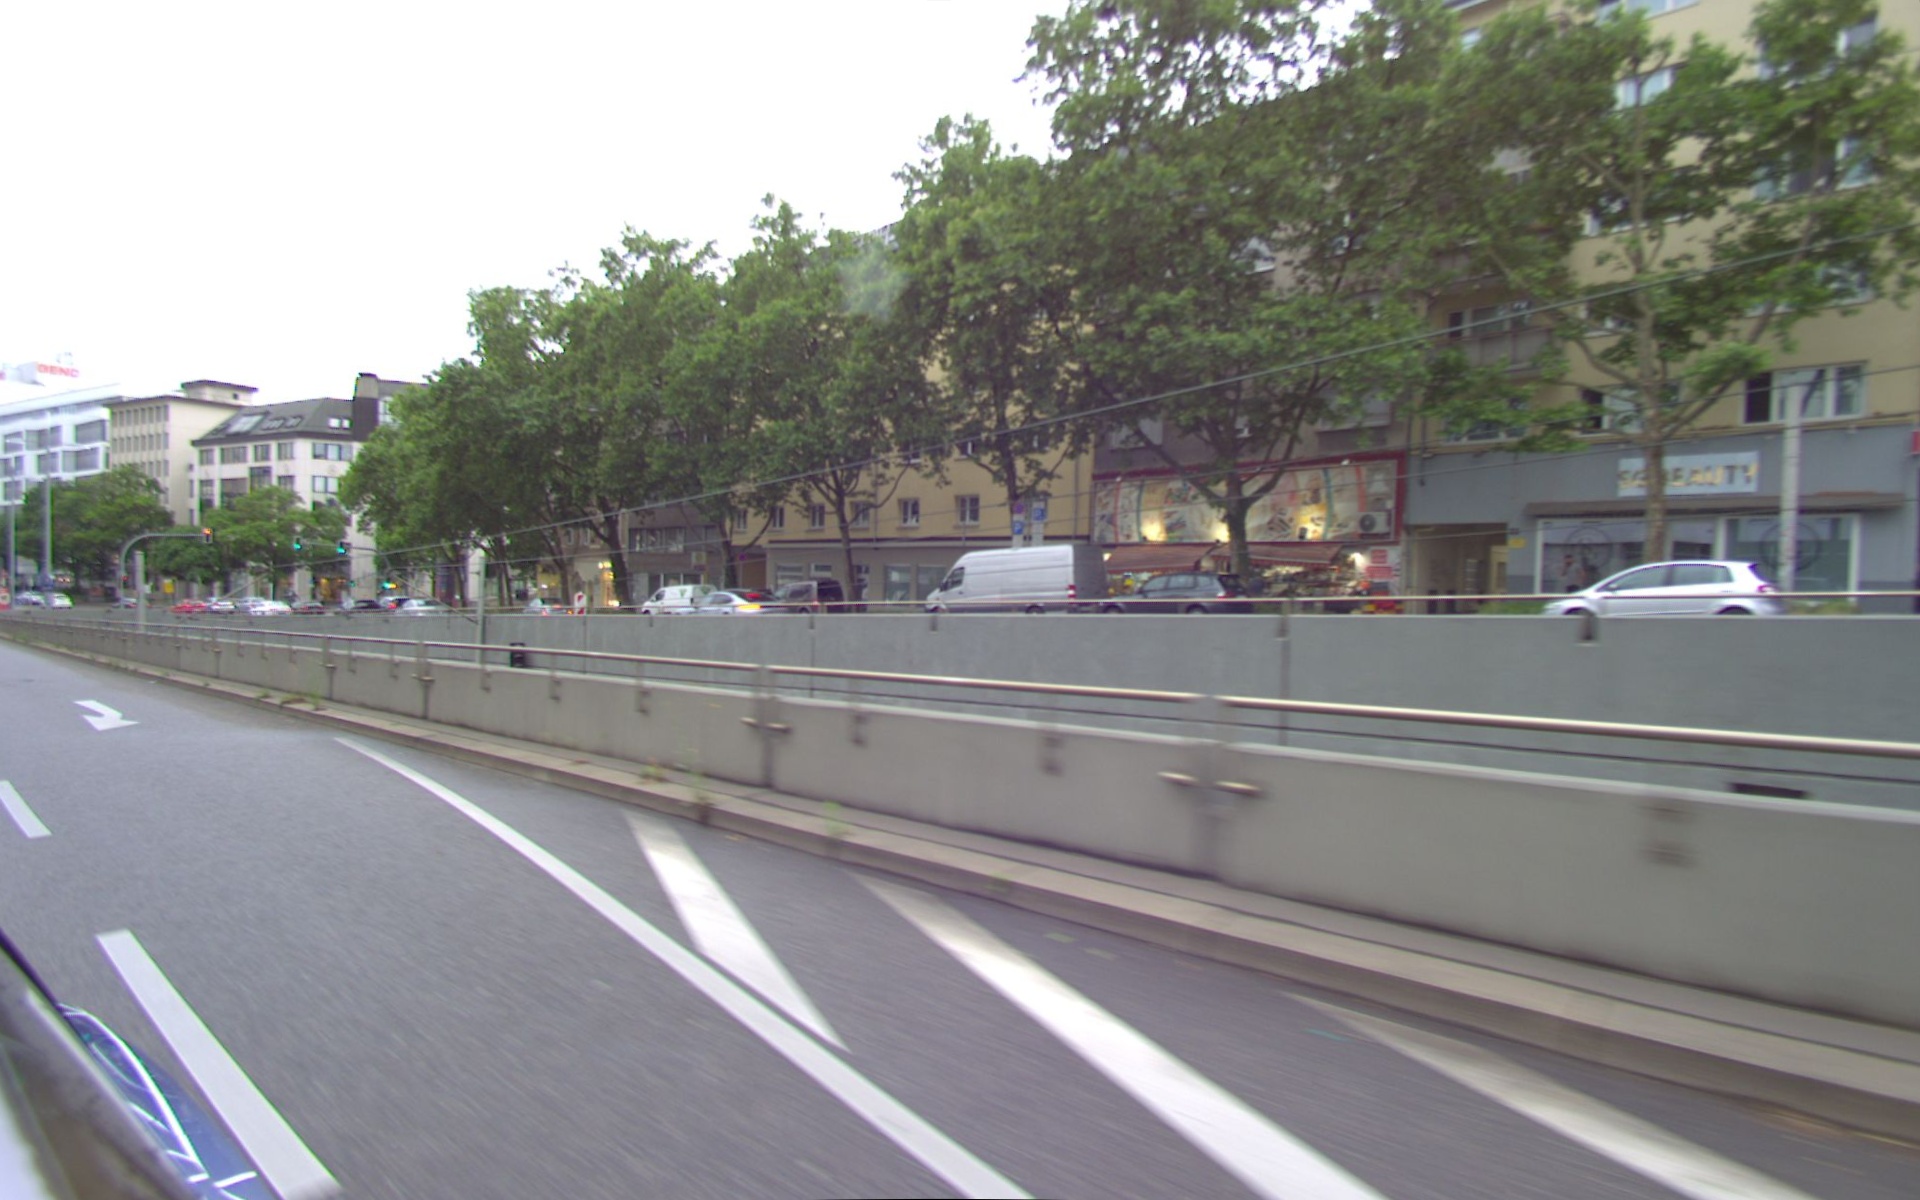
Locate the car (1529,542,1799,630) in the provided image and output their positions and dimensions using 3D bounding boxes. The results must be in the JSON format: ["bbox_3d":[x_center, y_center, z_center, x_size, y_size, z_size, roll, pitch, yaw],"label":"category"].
[{"bbox_3d":[14.088,-0.253,20.408,1.774,1.583,4.210,-2,1,-45],"label":"car"}]

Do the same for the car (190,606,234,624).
[{"bbox_3d":[-66.802,1.280,90.350,3.986,1.521,1.781,0,1,31],"label":"car"}]

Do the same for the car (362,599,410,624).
[{"bbox_3d":[-39.038,0.758,68.797,4.018,1.592,1.774,-1,1,45],"label":"car"}]

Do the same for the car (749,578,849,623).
[{"bbox_3d":[-6.583,0.040,41.136,4.205,1.742,1.775,-1,1,42],"label":"car"}]

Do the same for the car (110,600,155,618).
[{"bbox_3d":[-75.177,0.826,91.946,4.821,1.569,1.780,0,1,33],"label":"car"}]

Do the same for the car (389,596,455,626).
[{"bbox_3d":[-29.520,0.590,55.469,1.825,1.521,4.824,-2,1,-45],"label":"car"}]

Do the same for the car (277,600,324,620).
[{"bbox_3d":[-52.177,0.779,80.053,3.992,1.521,1.779,0,2,36],"label":"car"}]

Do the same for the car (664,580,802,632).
[{"bbox_3d":[-7.342,0.190,32.394,2.003,1.521,4.885,-2,1,-45],"label":"car"}]

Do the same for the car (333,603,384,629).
[{"bbox_3d":[-38.149,0.985,64.098,1.774,1.521,4.347,-1,1,-45],"label":"car"}]

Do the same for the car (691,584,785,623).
[{"bbox_3d":[-9.831,0.175,44.689,4.473,1.595,1.856,-1,1,43],"label":"car"}]

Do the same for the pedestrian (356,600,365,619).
[{"bbox_3d":[-58.481,0.927,98.685,0.581,1.822,0.675,-2,2,-41],"label":"pedestrian"}]

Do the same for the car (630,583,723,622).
[{"bbox_3d":[-13.634,0.136,48.474,4.898,1.777,1.858,-1,1,41],"label":"car"}]

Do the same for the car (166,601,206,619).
[{"bbox_3d":[-65.131,0.806,85.191,3.871,1.411,1.571,0,1,35],"label":"car"}]

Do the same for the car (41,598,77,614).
[{"bbox_3d":[-90.955,0.614,102.109,3.989,1.573,1.779,0,1,34],"label":"car"}]

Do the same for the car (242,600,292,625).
[{"bbox_3d":[-51.647,0.929,75.384,4.727,1.783,1.776,0,1,39],"label":"car"}]

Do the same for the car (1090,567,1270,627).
[{"bbox_3d":[6.044,-0.069,28.221,4.674,1.521,1.774,-1,1,45],"label":"car"}]

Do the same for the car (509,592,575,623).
[{"bbox_3d":[-21.608,0.396,52.302,1.825,1.521,4.020,-2,1,-43],"label":"car"}]

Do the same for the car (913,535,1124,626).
[{"bbox_3d":[1.738,-0.564,32.935,6.934,2.682,2.425,-1,1,45],"label":"car"}]

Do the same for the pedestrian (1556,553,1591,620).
[{"bbox_3d":[16.632,-0.367,27.432,0.516,1.761,0.623,-4,3,-38],"label":"pedestrian"}]

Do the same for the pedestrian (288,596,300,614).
[{"bbox_3d":[-68.664,0.489,104.388,0.615,1.798,0.825,0,2,35],"label":"pedestrian"}]

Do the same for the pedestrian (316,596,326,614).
[{"bbox_3d":[-64.610,0.458,102.323,0.525,1.798,0.597,0,2,35],"label":"pedestrian"}]

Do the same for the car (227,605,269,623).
[{"bbox_3d":[-65.855,1.276,93.640,3.929,1.521,1.781,0,2,32],"label":"car"}]
